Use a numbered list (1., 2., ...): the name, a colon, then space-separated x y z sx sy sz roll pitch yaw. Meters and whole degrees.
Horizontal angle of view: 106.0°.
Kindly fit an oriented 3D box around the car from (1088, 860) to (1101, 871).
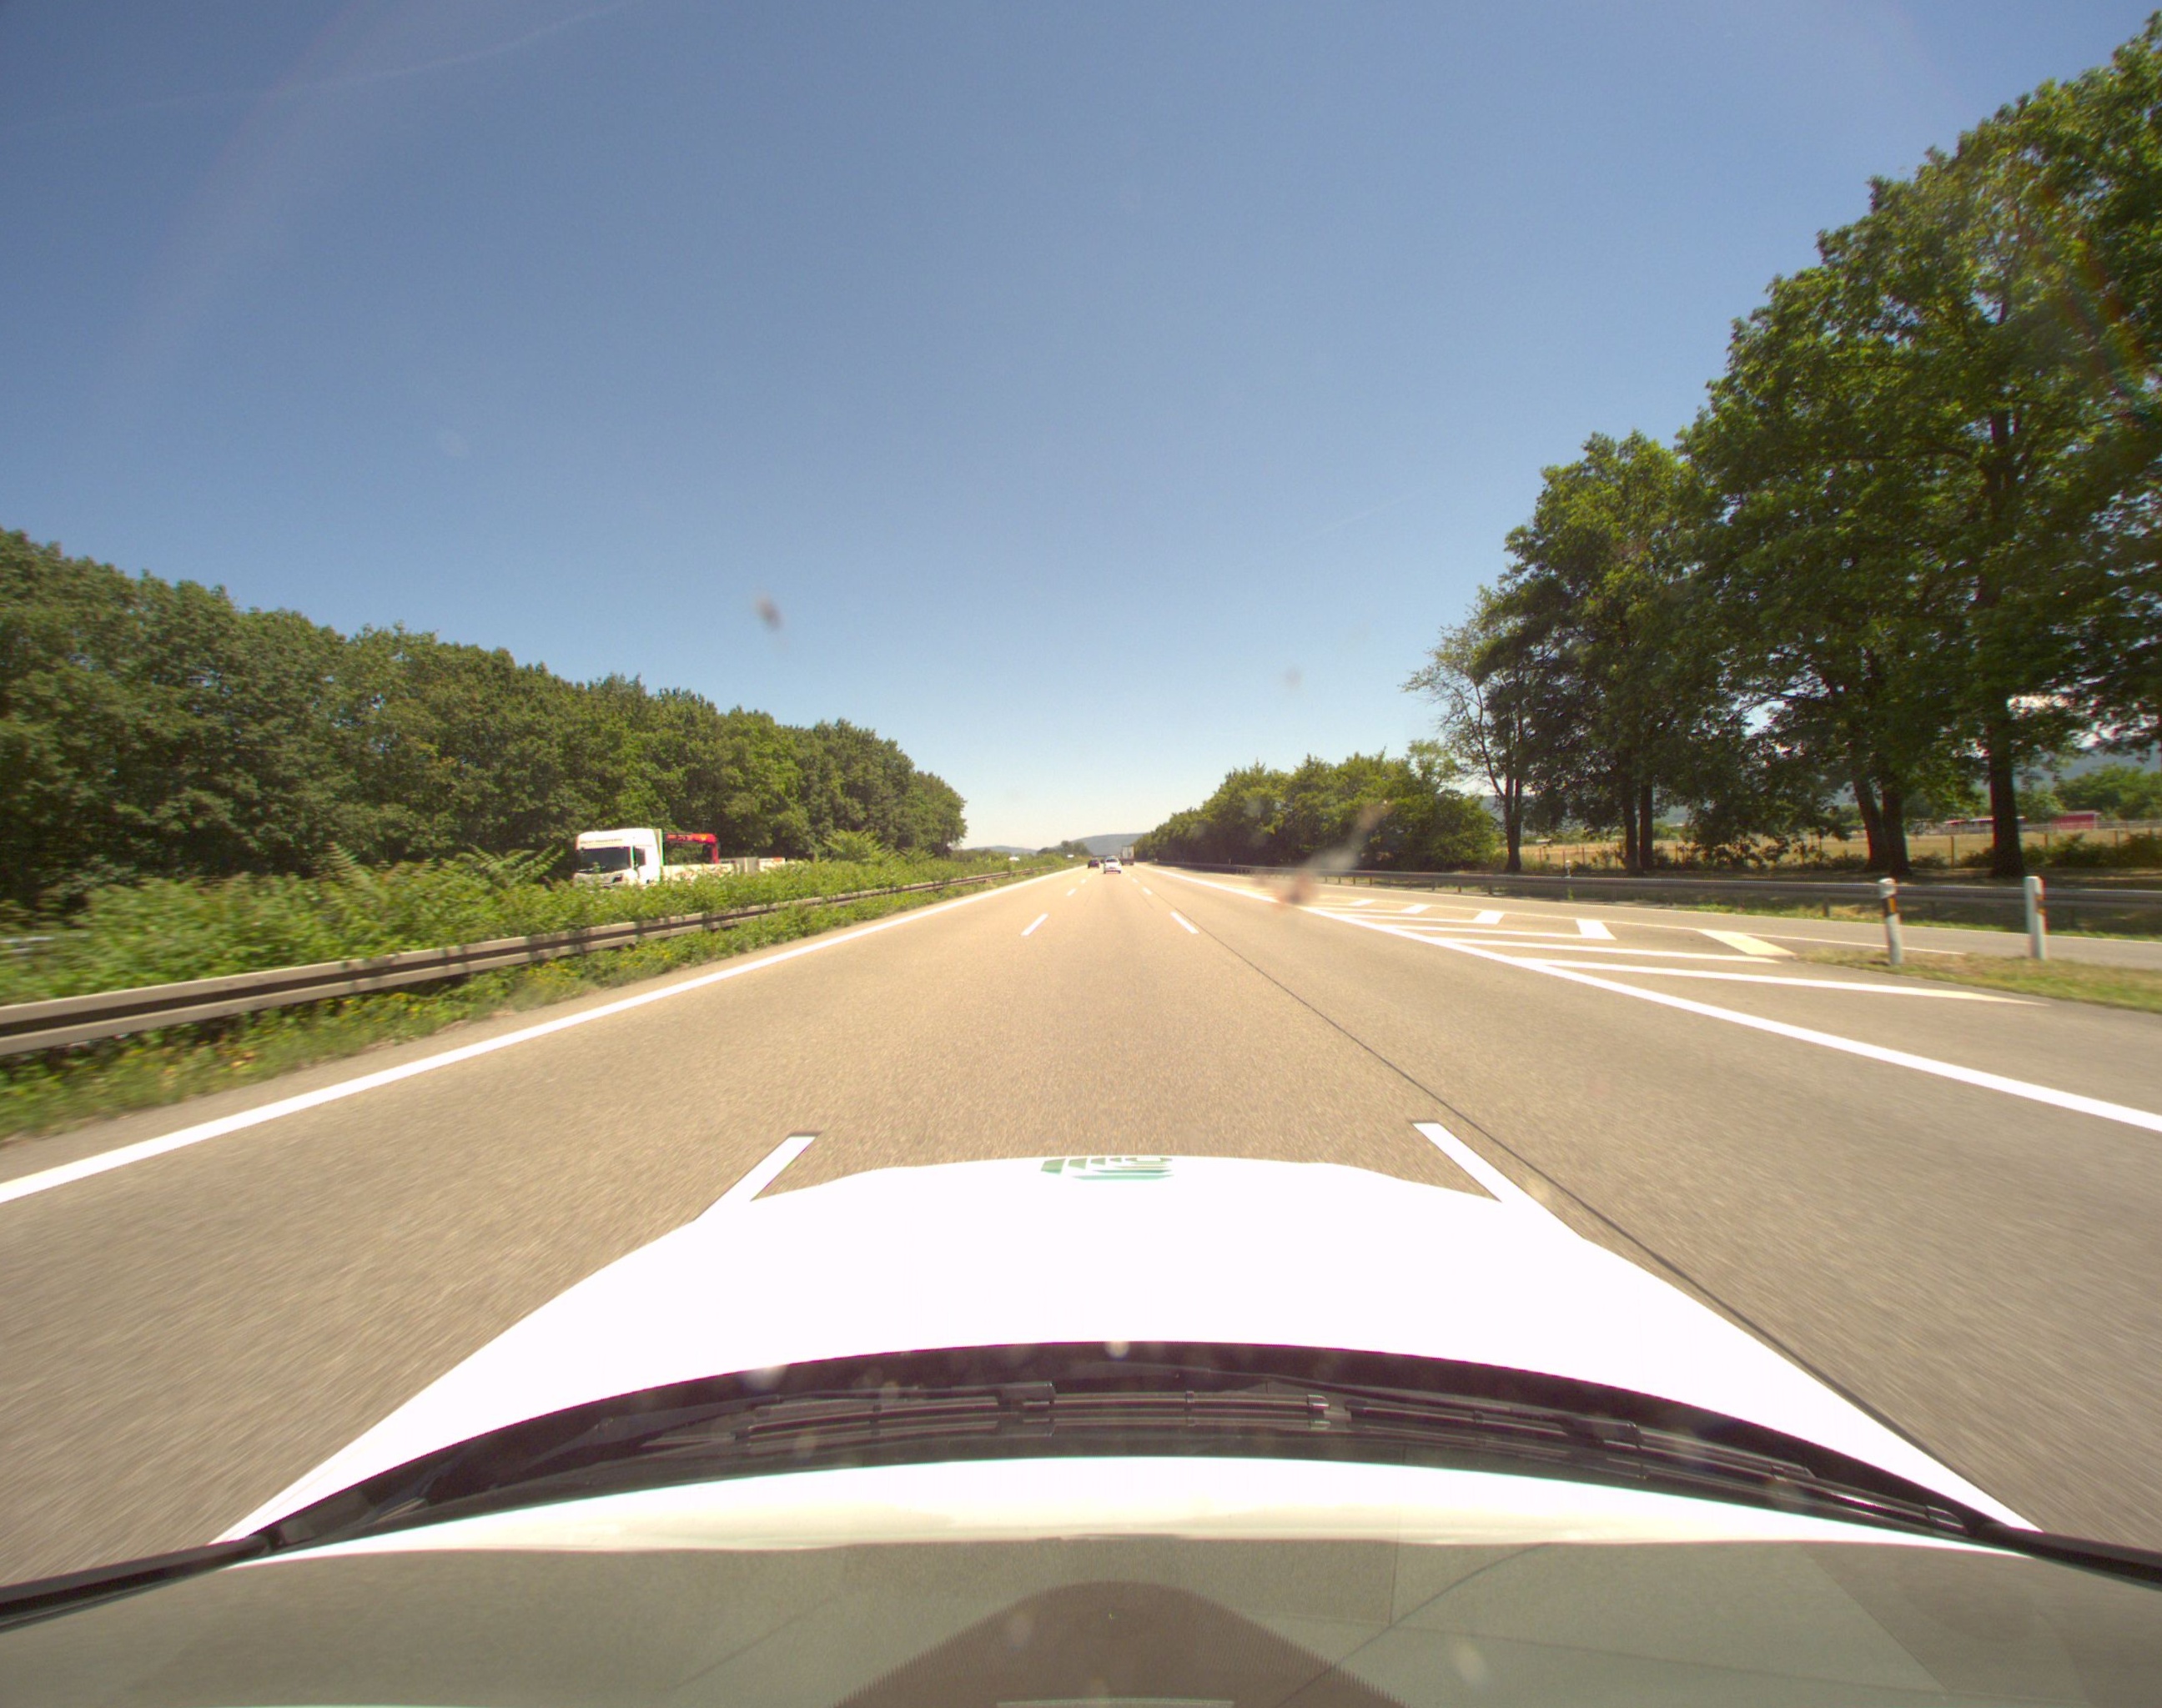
1. car: 2.087 1.719 125.695 1.986 1.712 4.001 0 -1 1

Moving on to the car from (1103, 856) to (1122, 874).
1. car: 3.082 1.063 80.802 1.726 1.684 4.001 -2 0 1

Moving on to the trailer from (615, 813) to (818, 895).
1. trailer: -18.595 0.044 43.752 3.185 3.580 15.975 0 0 2

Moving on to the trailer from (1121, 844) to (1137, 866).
1. trailer: 10.259 0.288 173.311 3.203 4.345 13.646 0 0 5

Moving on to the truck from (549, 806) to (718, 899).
1. truck: -18.916 -0.022 35.061 3.185 3.580 6.999 0 -1 2
